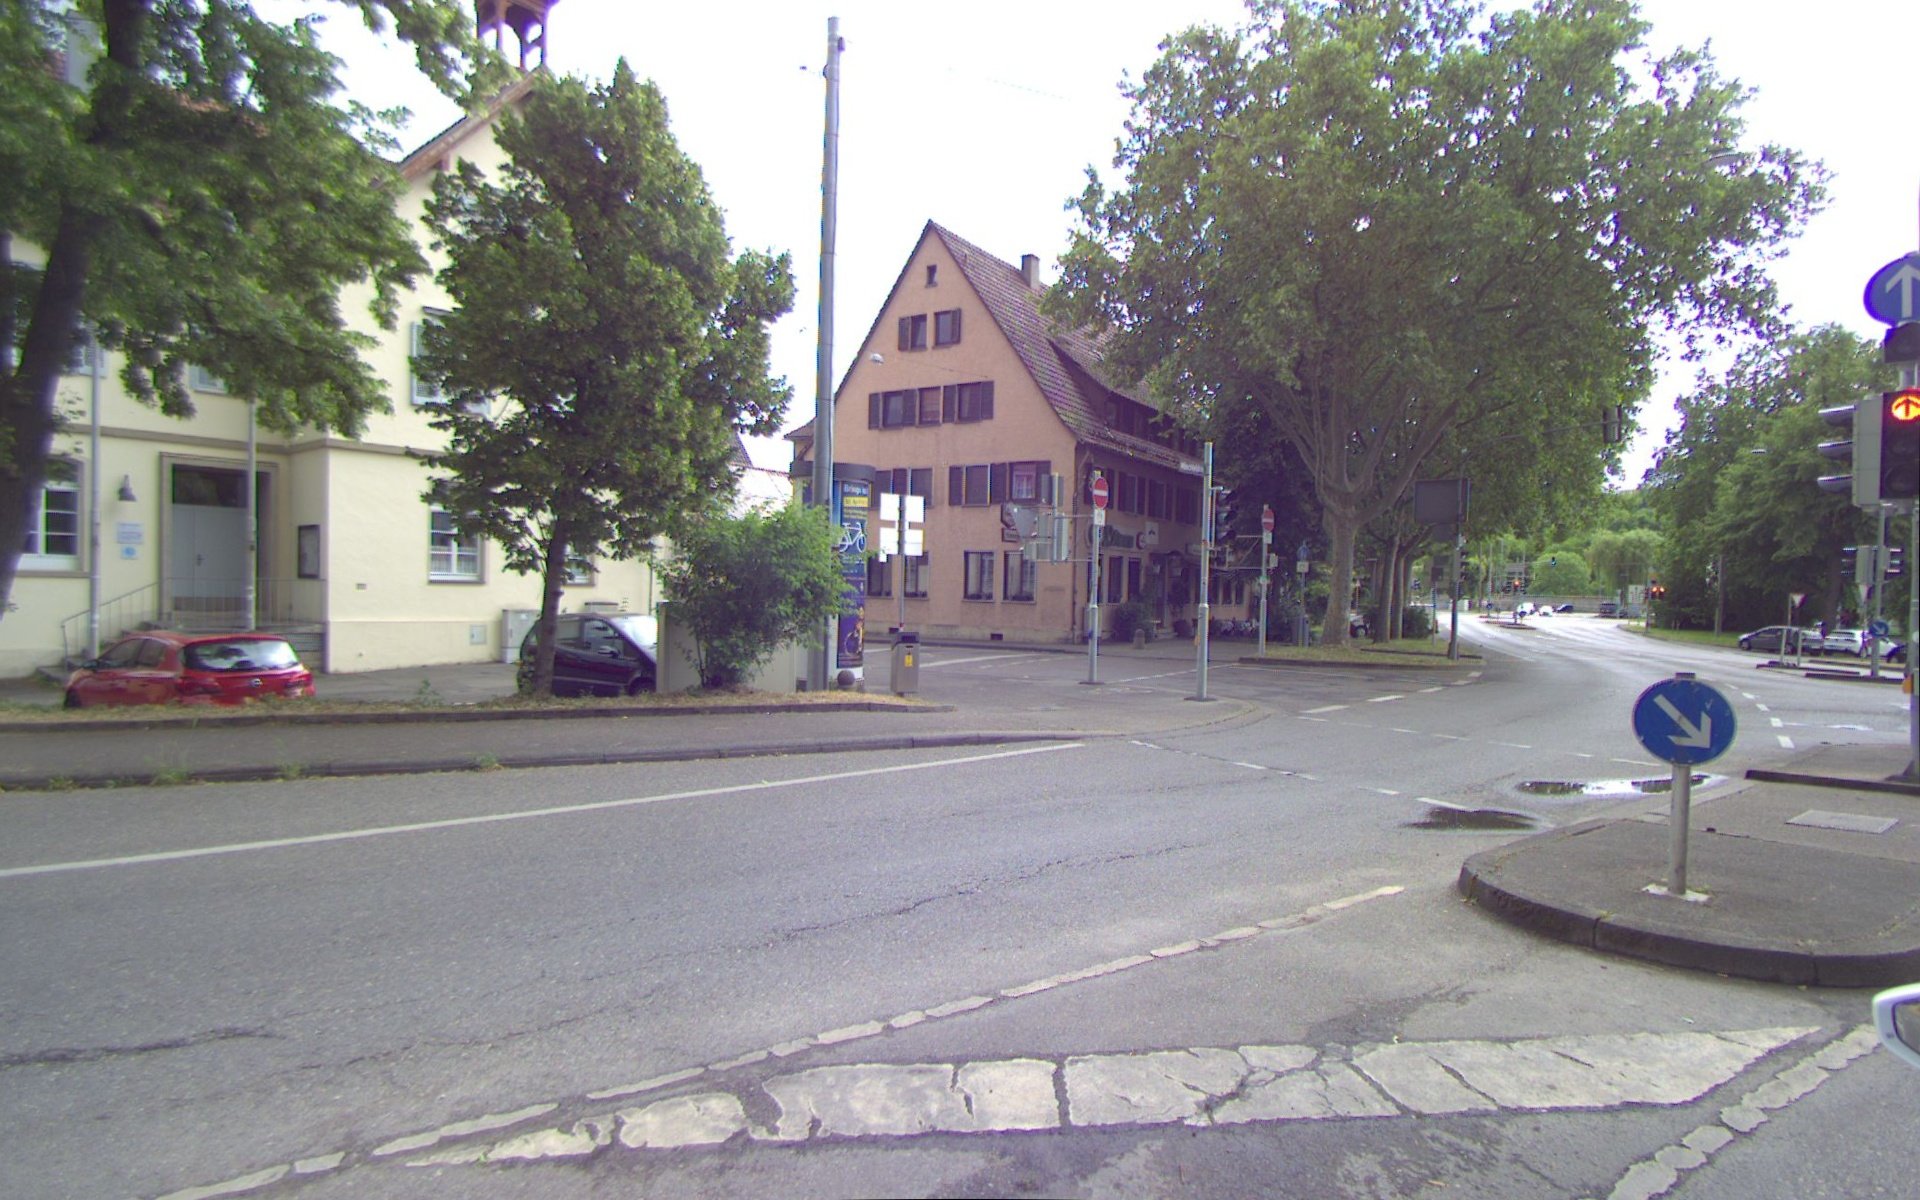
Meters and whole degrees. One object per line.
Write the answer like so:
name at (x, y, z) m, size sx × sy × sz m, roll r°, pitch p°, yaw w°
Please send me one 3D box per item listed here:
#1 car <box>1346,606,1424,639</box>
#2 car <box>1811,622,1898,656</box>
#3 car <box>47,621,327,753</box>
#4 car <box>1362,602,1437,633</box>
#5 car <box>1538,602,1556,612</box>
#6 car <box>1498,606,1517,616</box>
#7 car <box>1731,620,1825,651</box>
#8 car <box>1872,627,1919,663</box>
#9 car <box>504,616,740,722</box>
car at (23.998, 1.253, 56.714) m, size 3.924 × 1.706 × 1.998 m, roll 1°, pitch 0°, yaw 25°
car at (47.462, 2.042, 53.332) m, size 3.696 × 1.662 × 1.859 m, roll 2°, pitch 0°, yaw -19°
car at (-10.281, 1.048, 13.328) m, size 3.653 × 1.401 × 1.659 m, roll 2°, pitch 0°, yaw 30°
car at (25.730, 1.010, 58.790) m, size 3.924 × 1.706 × 1.998 m, roll 1°, pitch 0°, yaw 25°
car at (90.867, 1.134, 155.427) m, size 1.469 × 1.436 × 3.028 m, roll 3°, pitch 0°, yaw 11°
car at (85.232, 1.667, 156.434) m, size 1.553 × 1.506 × 3.337 m, roll 3°, pitch 0°, yaw 12°
car at (43.819, 1.880, 53.913) m, size 1.592 × 1.485 × 3.778 m, roll 2°, pitch 0°, yaw -11°
car at (39.447, 1.863, 40.771) m, size 1.746 × 1.370 × 3.326 m, roll 2°, pitch 0°, yaw -2°
car at (-5.533, 1.053, 16.449) m, size 3.507 × 1.459 × 1.644 m, roll 2°, pitch 0°, yaw 26°
